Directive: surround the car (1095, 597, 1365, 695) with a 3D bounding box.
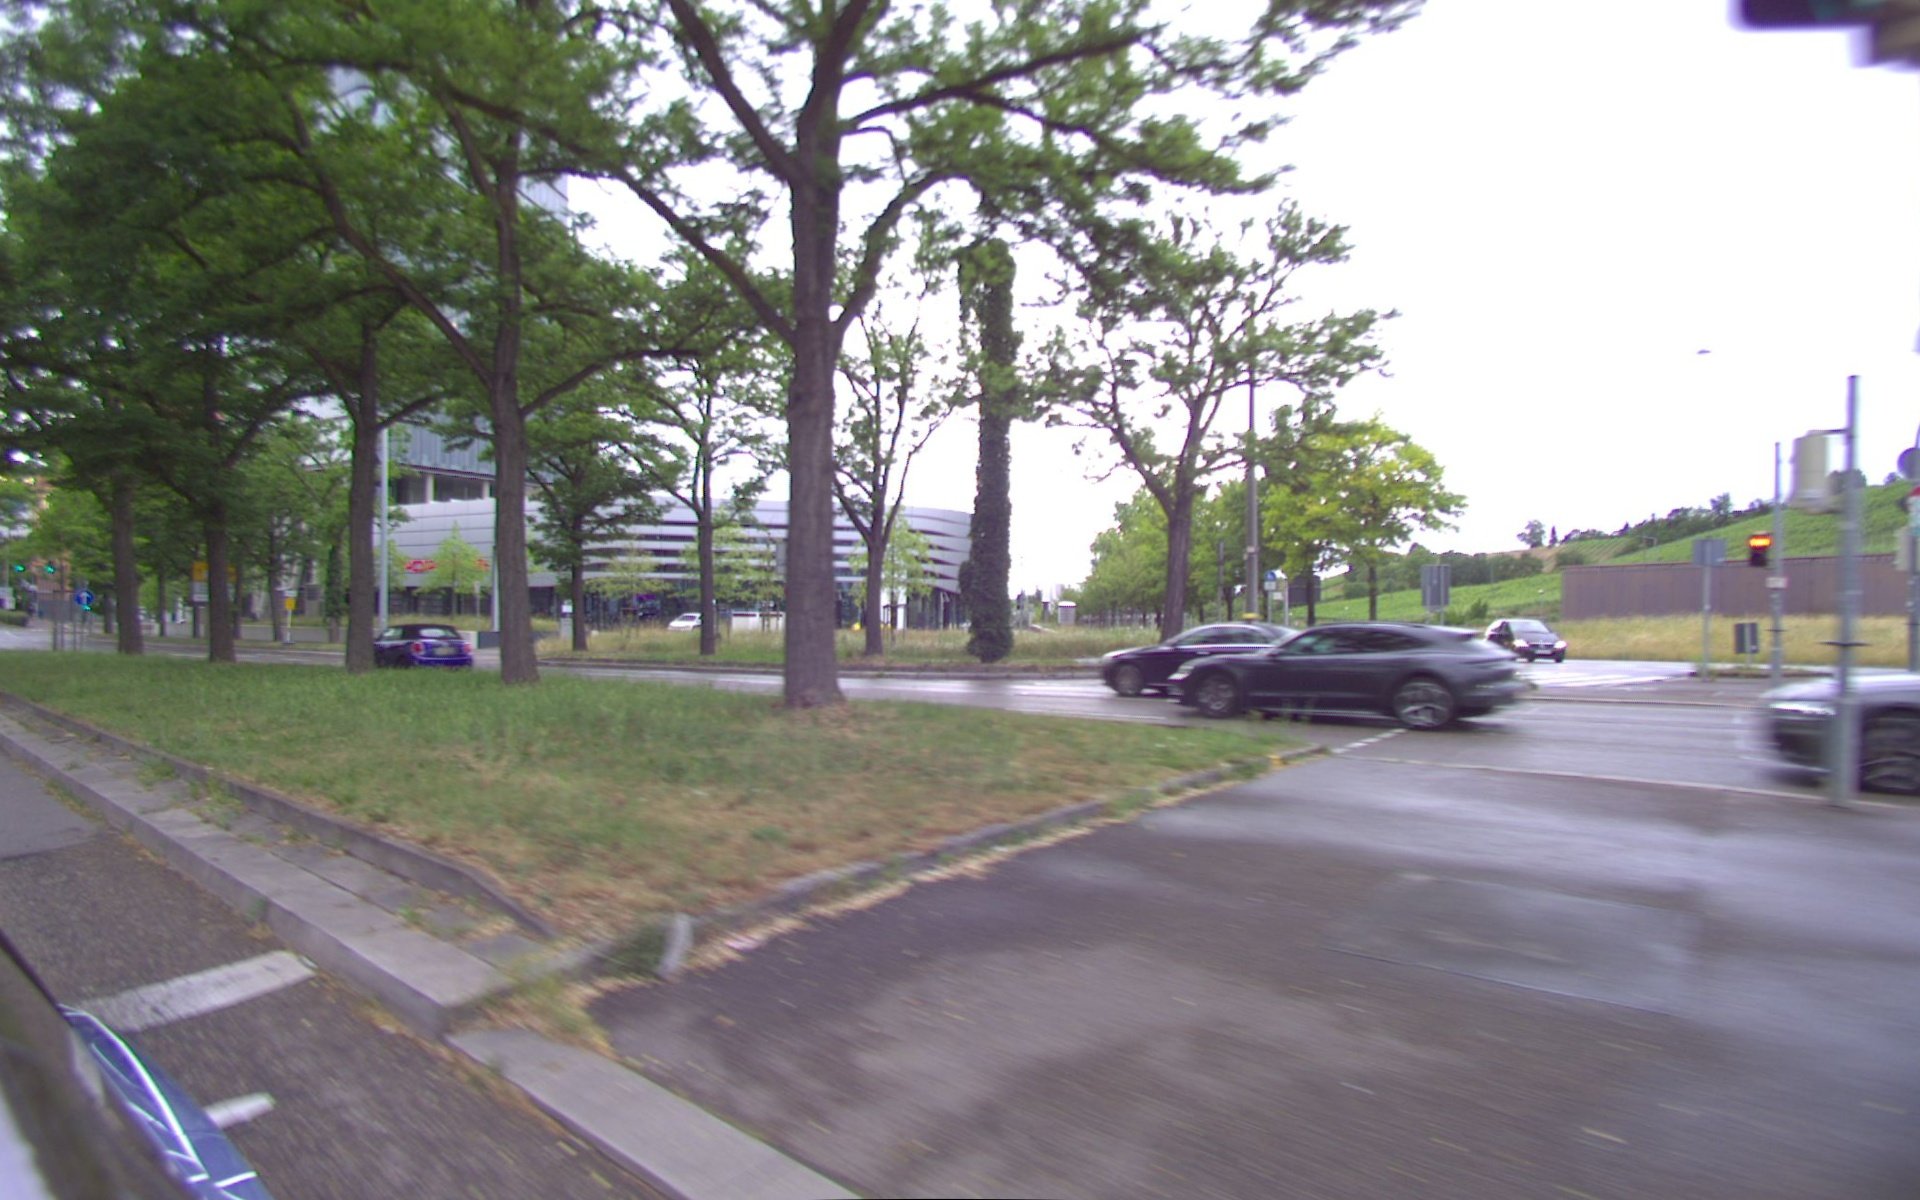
[{"bbox_3d":[5.031,0.928,19.210,4.557,1.636,1.813,-4,-4,36],"label":"car"}]

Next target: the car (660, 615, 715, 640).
[{"bbox_3d":[-18.056,1.818,67.217,1.762,1.423,3.982,-1,1,14],"label":"car"}]

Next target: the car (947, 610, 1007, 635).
[{"bbox_3d":[0.929,1.228,57.430,1.592,1.254,4.013,-2,1,-29],"label":"car"}]

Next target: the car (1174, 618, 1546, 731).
[{"bbox_3d":[5.622,0.966,14.550,4.661,1.373,1.807,-1,-1,38],"label":"car"}]

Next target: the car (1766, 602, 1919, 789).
[{"bbox_3d":[9.483,0.740,7.913,4.884,1.500,1.883,-1,-1,38],"label":"car"}]

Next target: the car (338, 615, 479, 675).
[{"bbox_3d":[-14.354,1.120,26.297,3.875,1.406,1.770,-1,0,37],"label":"car"}]

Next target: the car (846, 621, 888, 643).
[{"bbox_3d":[-6.373,2.188,69.763,1.605,1.333,3.980,-1,1,16],"label":"car"}]
